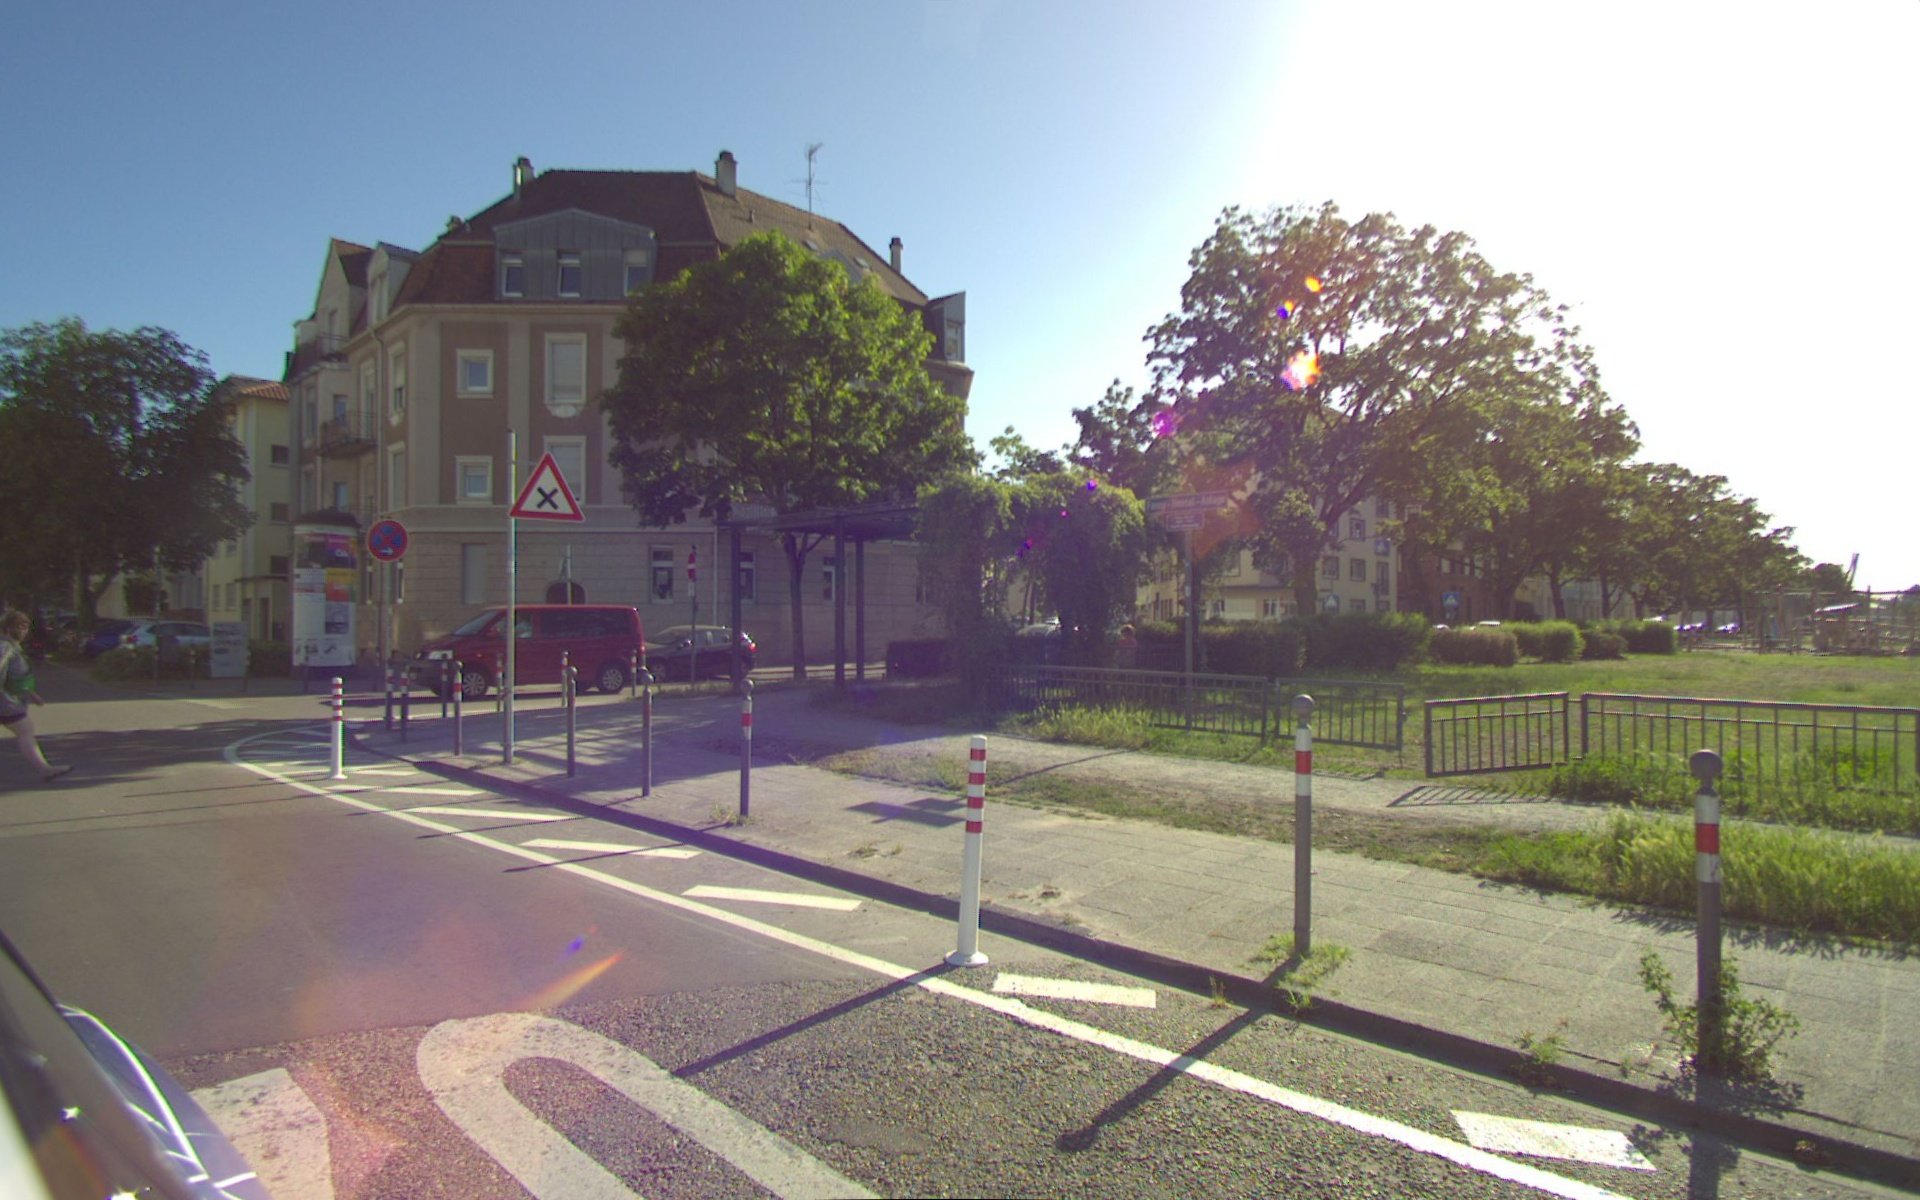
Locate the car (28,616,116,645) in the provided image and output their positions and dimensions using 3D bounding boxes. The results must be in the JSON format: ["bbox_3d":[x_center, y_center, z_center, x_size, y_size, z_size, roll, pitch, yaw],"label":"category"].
[{"bbox_3d":[-49.715,1.671,56.693,1.690,1.506,3.484,-1,-1,39],"label":"car"}]

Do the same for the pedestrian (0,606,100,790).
[{"bbox_3d":[-9.134,0.912,9.675,0.909,1.687,1.080,-1,-2,27],"label":"pedestrian"}]

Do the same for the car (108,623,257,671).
[{"bbox_3d":[-26.197,1.534,34.169,1.691,1.455,3.739,-1,-1,41],"label":"car"}]

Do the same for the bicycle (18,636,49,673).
[{"bbox_3d":[-29.245,1.705,31.942,0.635,1.117,2.066,2,-2,-45],"label":"bicycle"}]

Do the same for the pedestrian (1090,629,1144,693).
[{"bbox_3d":[2.916,1.117,18.819,0.862,1.147,0.599,2,-2,-45],"label":"pedestrian"}]

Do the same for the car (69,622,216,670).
[{"bbox_3d":[-28.310,1.550,35.116,1.691,1.506,3.739,-1,-1,41],"label":"car"}]

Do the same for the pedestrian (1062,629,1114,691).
[{"bbox_3d":[2.450,1.130,19.317,0.833,1.158,0.599,2,-2,-45],"label":"pedestrian"}]

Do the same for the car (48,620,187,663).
[{"bbox_3d":[-32.047,1.544,38.587,1.686,1.506,3.751,-1,-1,31],"label":"car"}]

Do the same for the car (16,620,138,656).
[{"bbox_3d":[-38.962,1.646,44.733,1.686,1.506,3.751,-1,-1,31],"label":"car"}]

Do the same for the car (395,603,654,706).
[{"bbox_3d":[-9.368,1.118,22.093,1.898,1.975,4.815,1,-1,44],"label":"car"}]

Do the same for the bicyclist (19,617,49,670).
[{"bbox_3d":[-29.226,1.368,31.932,0.635,1.632,0.637,2,-2,-45],"label":"bicyclist"}]

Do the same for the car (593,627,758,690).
[{"bbox_3d":[-7.750,1.542,27.849,1.867,1.494,3.960,3,1,41],"label":"car"}]

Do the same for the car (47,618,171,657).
[{"bbox_3d":[-36.241,1.570,43.176,1.686,1.506,3.751,-1,-1,31],"label":"car"}]

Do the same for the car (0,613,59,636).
[{"bbox_3d":[-72.988,1.909,79.223,1.692,1.716,3.481,-1,-1,42],"label":"car"}]

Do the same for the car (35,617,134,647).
[{"bbox_3d":[-46.459,1.666,53.770,1.690,1.506,3.742,-1,-1,39],"label":"car"}]
